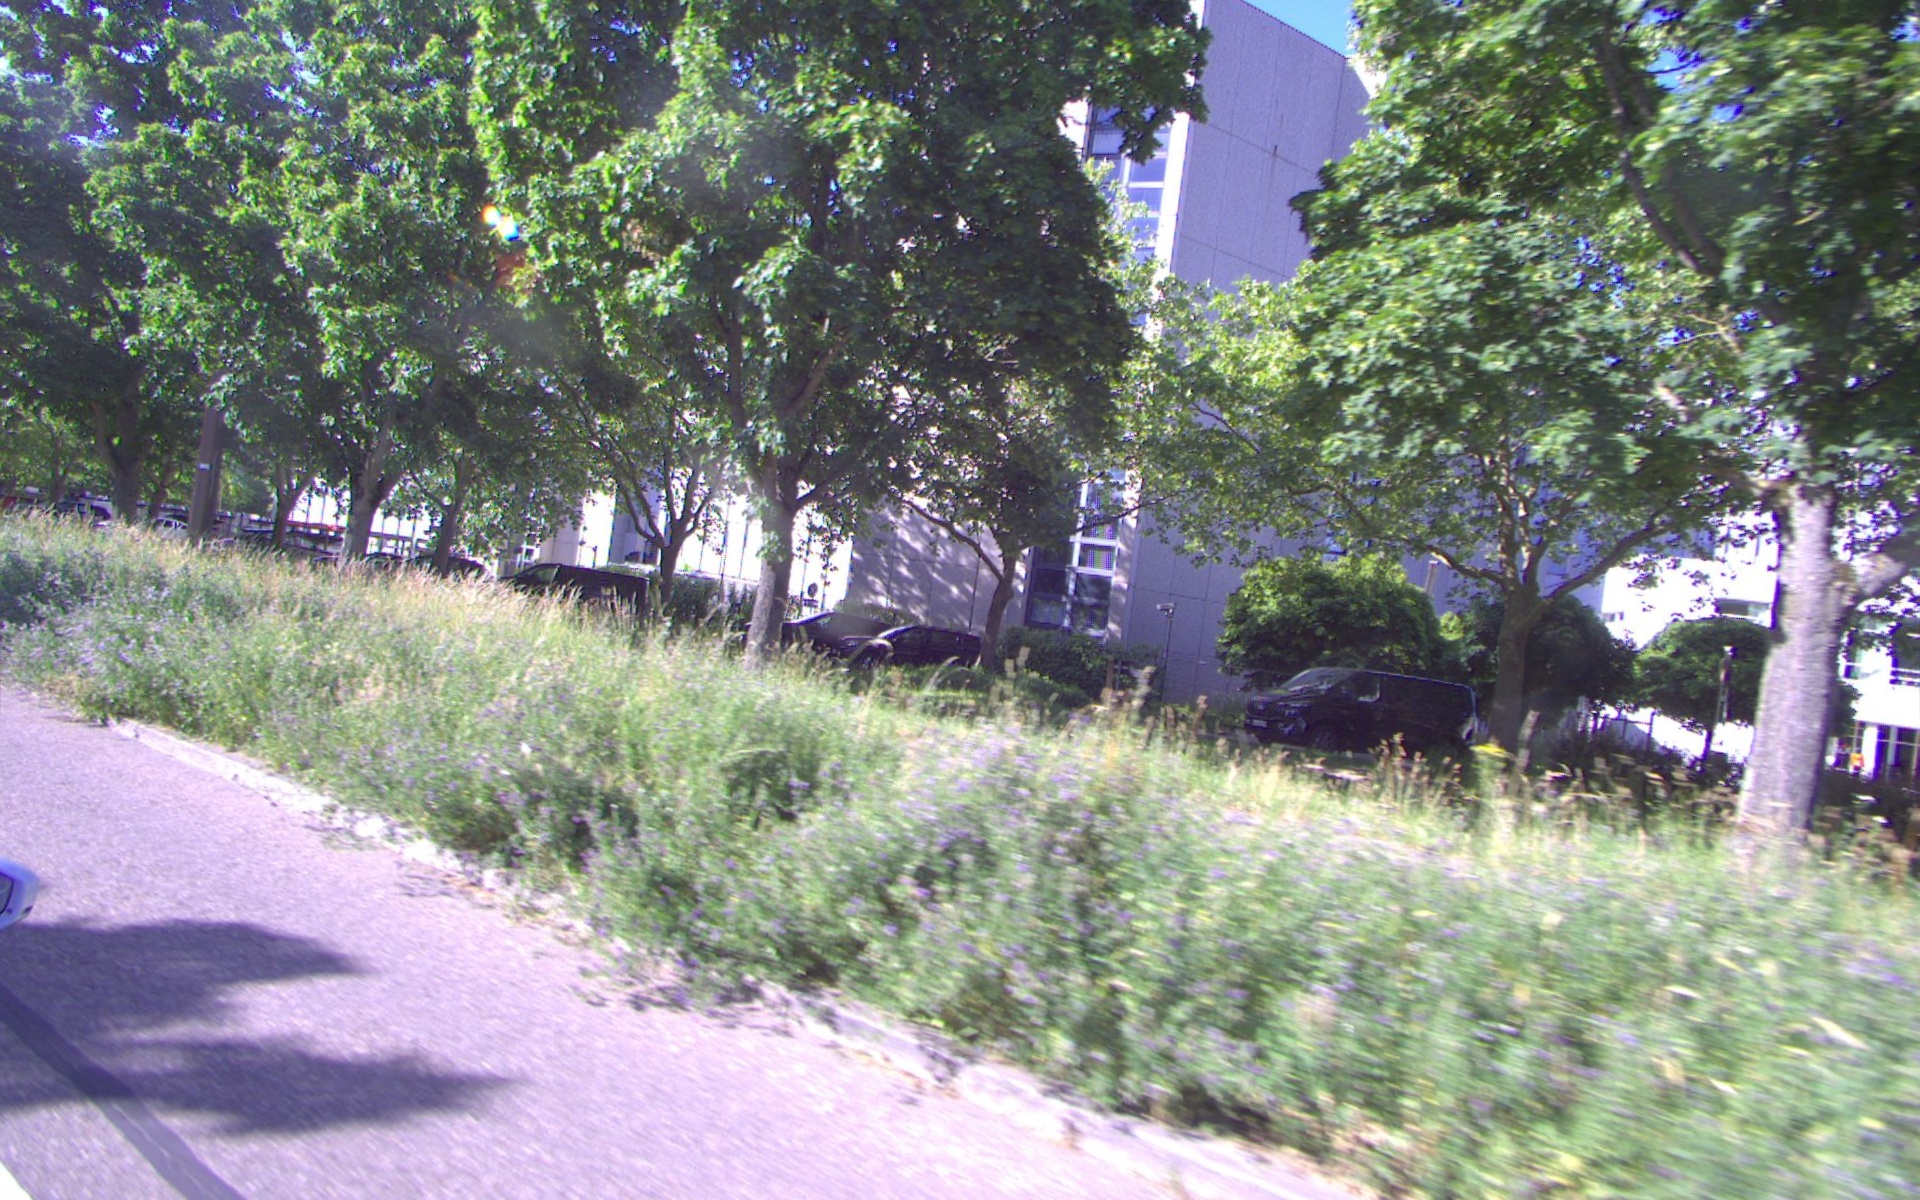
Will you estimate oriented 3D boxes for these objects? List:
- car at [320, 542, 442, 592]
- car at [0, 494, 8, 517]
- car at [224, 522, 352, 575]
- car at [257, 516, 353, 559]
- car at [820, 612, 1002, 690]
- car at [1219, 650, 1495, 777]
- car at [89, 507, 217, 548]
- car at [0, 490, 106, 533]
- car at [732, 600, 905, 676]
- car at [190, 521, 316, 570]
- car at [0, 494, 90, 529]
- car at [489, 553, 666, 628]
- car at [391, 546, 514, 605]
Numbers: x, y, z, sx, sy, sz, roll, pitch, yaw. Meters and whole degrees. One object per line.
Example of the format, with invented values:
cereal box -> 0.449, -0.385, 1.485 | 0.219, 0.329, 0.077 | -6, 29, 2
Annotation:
car -> -23.313, -1.292, 40.647 | 3.936, 1.356, 1.700 | 9, -2, -22
car -> -64.617, -6.501, 64.974 | 1.795, 1.448, 4.173 | 7, -3, 33
car -> -29.401, -2.213, 44.185 | 1.733, 1.720, 4.350 | 7, -1, 21
car -> -42.755, -4.048, 65.790 | 1.940, 1.973, 4.760 | 8, -1, 29
car -> -1.322, 1.392, 27.512 | 4.493, 1.464, 1.838 | 9, -2, -24
car -> 8.443, 2.404, 21.527 | 5.106, 1.897, 2.075 | 9, -2, -14
car -> -40.976, -3.660, 51.204 | 1.776, 1.286, 4.709 | 8, -1, 28
car -> -50.860, -4.934, 56.159 | 1.851, 1.615, 4.404 | 7, -2, 27
car -> -4.093, 1.097, 29.111 | 4.493, 1.532, 1.838 | 9, -2, -24
car -> -31.398, -2.397, 44.845 | 1.733, 1.554, 4.245 | 7, -1, 21
car -> -54.729, -5.268, 59.667 | 1.909, 1.340, 4.297 | 8, -1, 35
car -> -13.220, -0.280, 35.134 | 5.369, 1.772, 1.916 | 9, -2, -12
car -> -19.541, -0.919, 38.894 | 3.936, 1.657, 1.715 | 9, -2, -22
